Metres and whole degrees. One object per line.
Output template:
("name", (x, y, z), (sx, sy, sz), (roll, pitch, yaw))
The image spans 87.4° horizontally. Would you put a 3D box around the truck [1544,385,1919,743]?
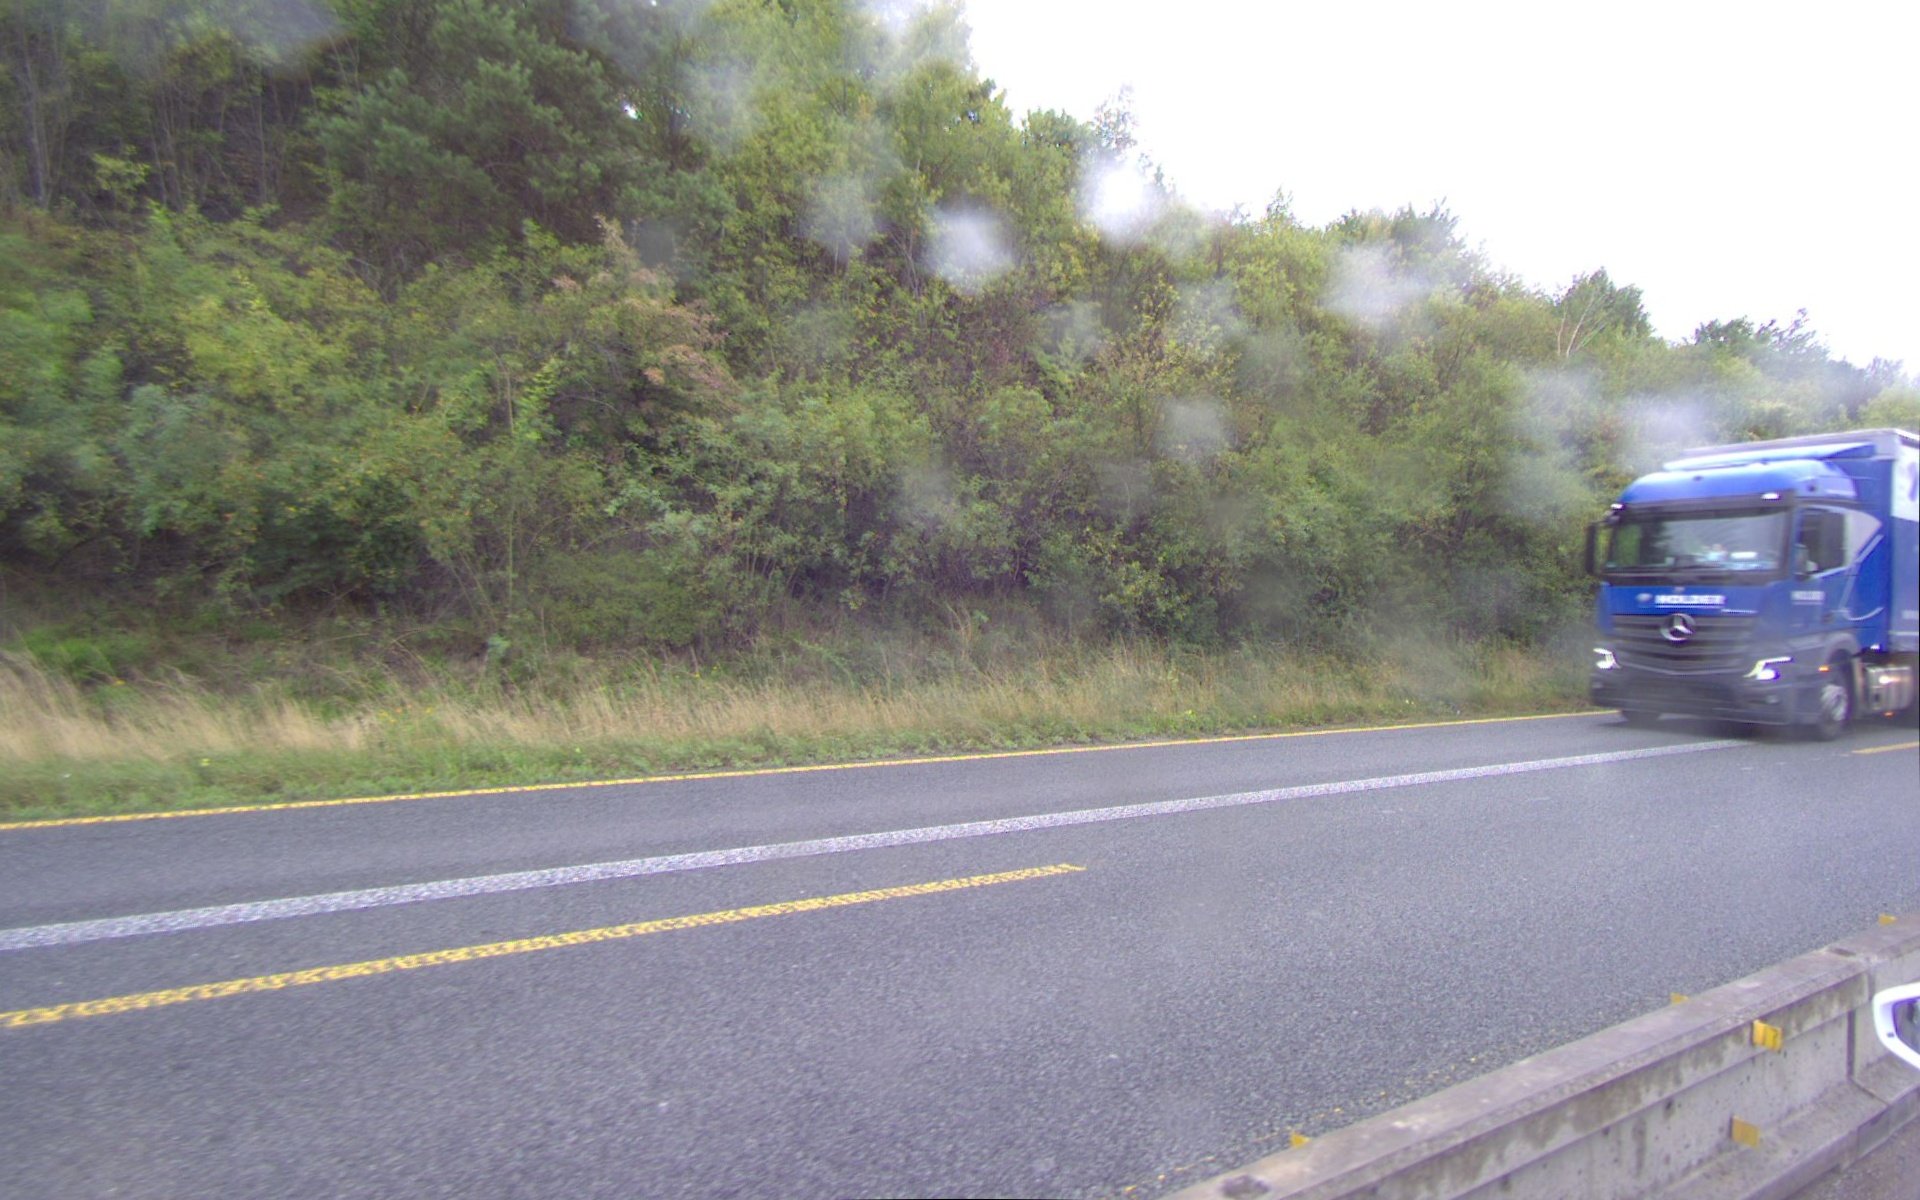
("truck", (16.115, -0.198, 17.256), (16.733, 4.178, 2.752), (2, 0, -31))
